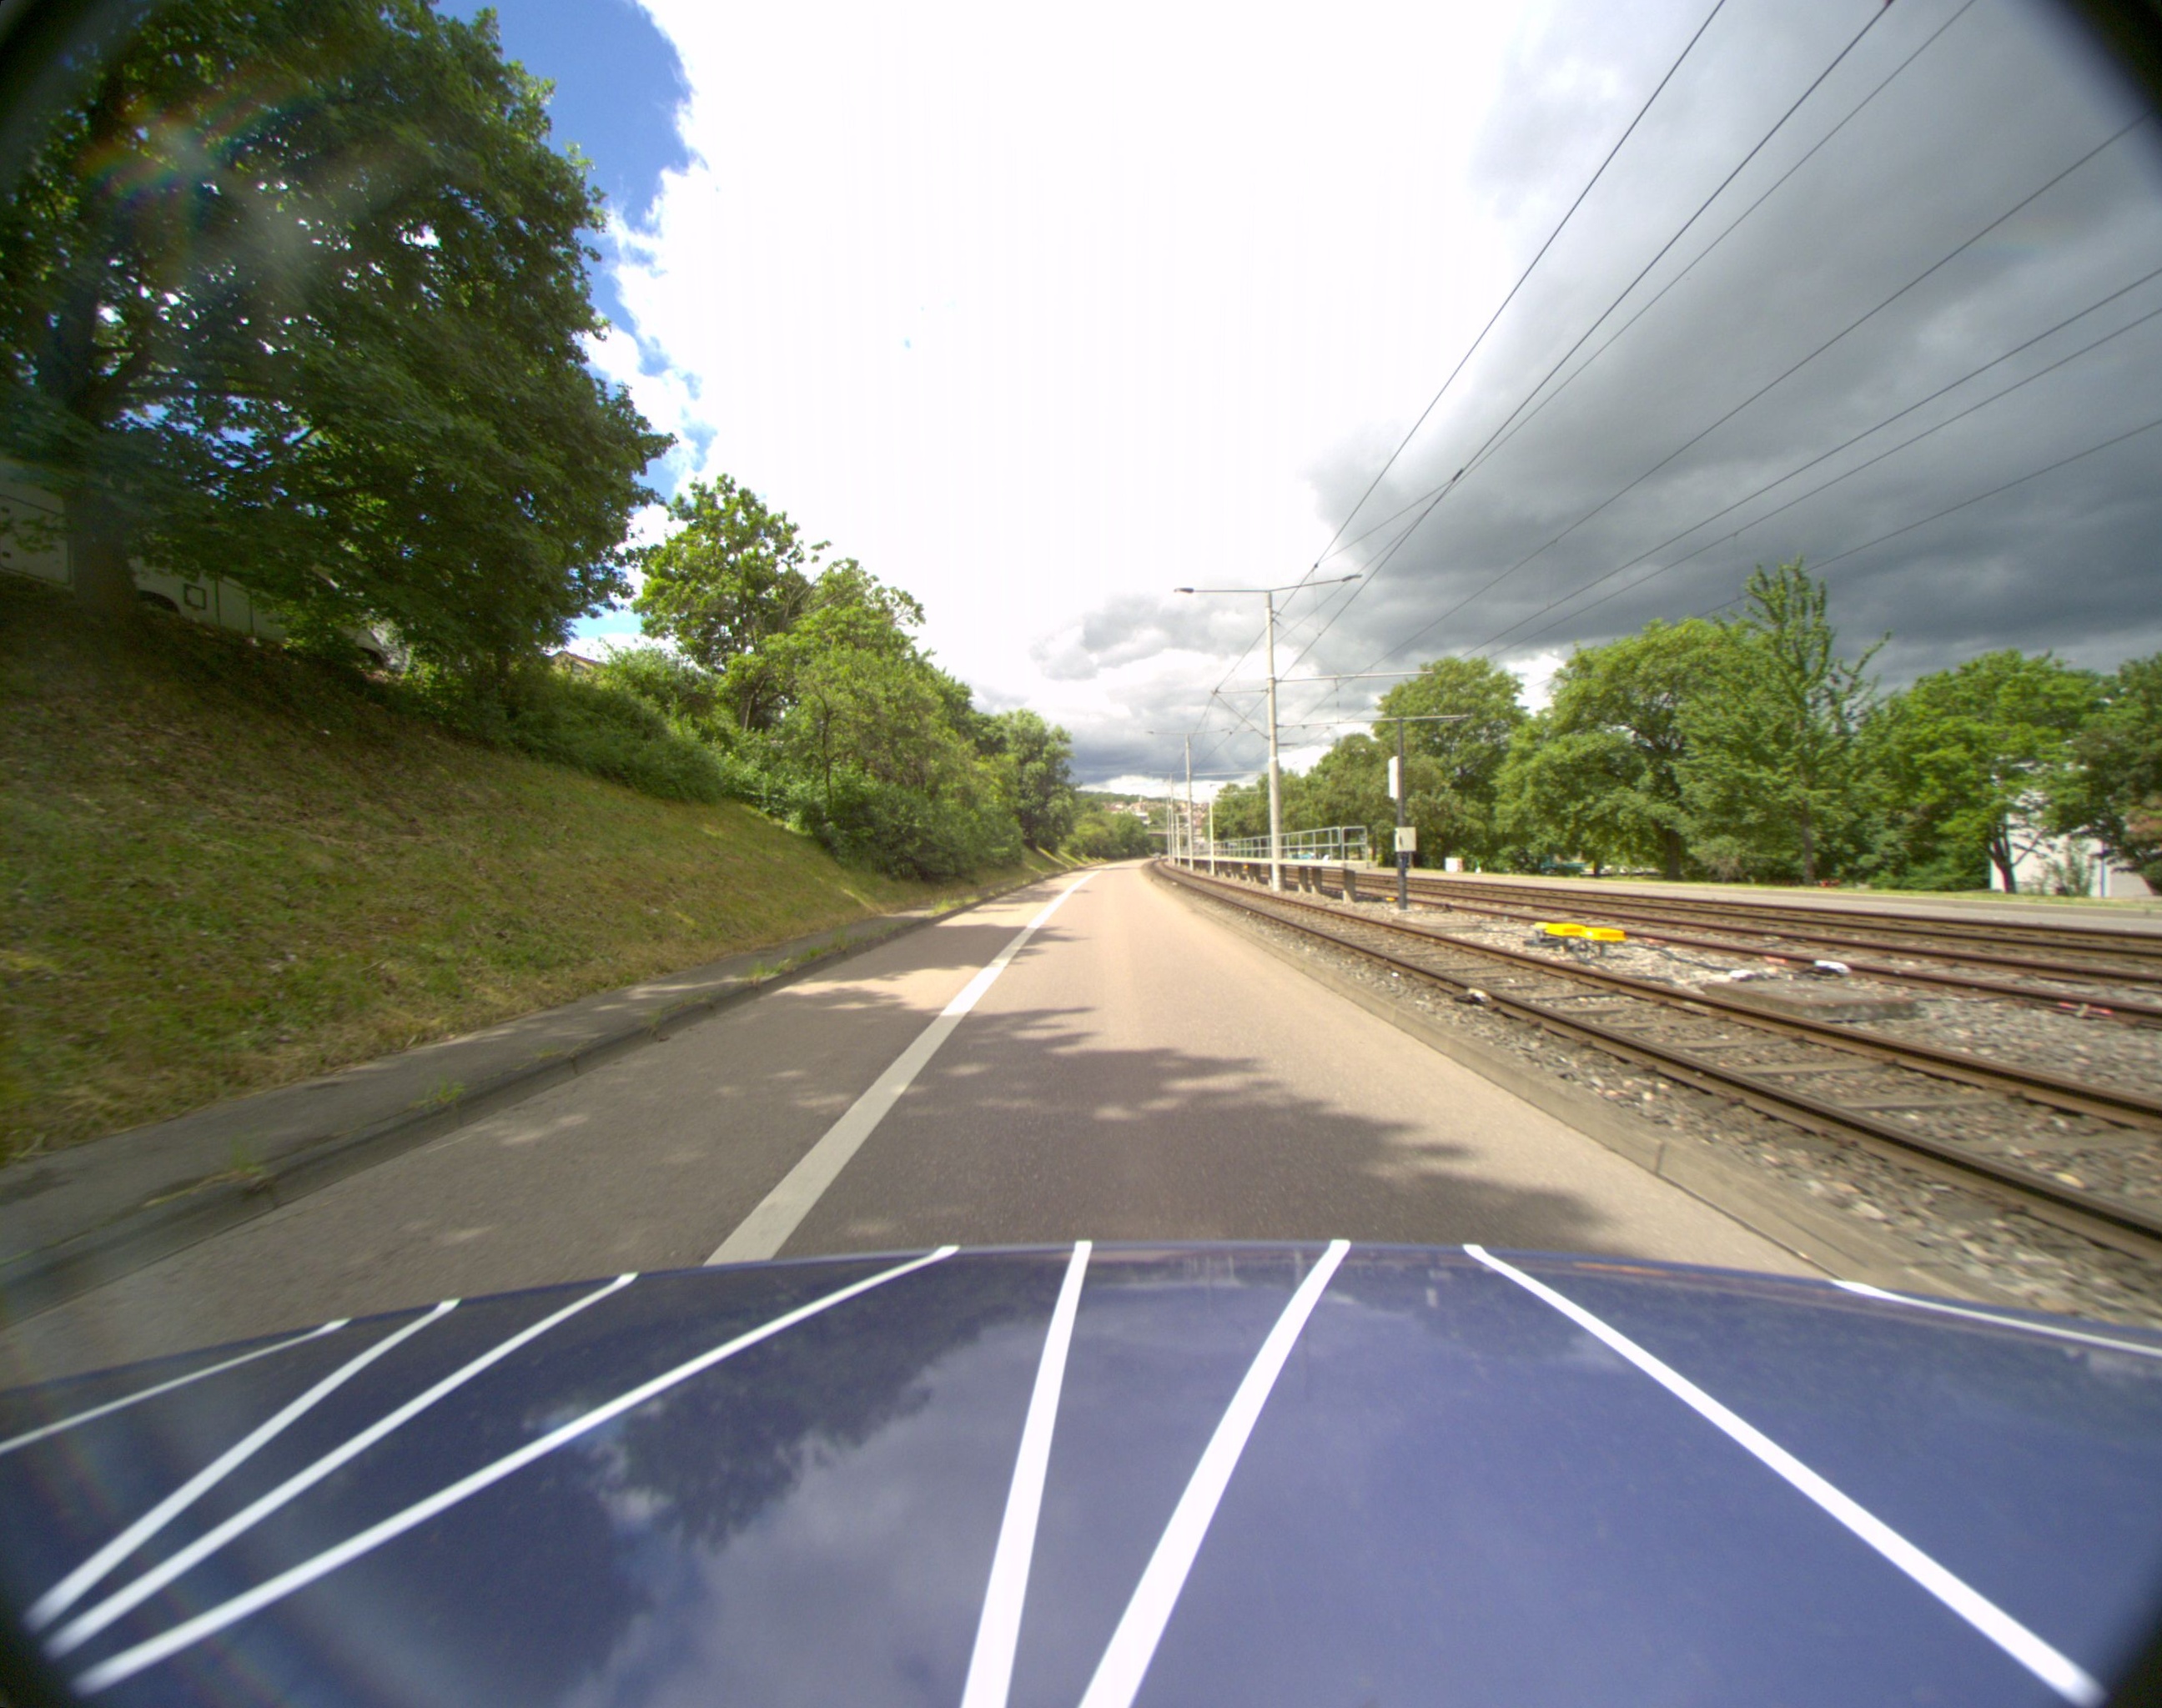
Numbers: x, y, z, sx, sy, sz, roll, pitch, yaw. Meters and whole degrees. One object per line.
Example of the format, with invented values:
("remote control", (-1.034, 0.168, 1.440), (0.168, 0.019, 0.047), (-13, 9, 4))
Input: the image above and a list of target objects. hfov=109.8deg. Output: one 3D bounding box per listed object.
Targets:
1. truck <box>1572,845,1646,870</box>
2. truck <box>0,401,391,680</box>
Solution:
("truck", (61.931, 0.367, 89.193), (6.615, 2.839, 2.681), (1, 1, 7))
("truck", (-17.146, -5.355, 14.031), (2.356, 2.643, 7.038), (-2, 0, -1))
